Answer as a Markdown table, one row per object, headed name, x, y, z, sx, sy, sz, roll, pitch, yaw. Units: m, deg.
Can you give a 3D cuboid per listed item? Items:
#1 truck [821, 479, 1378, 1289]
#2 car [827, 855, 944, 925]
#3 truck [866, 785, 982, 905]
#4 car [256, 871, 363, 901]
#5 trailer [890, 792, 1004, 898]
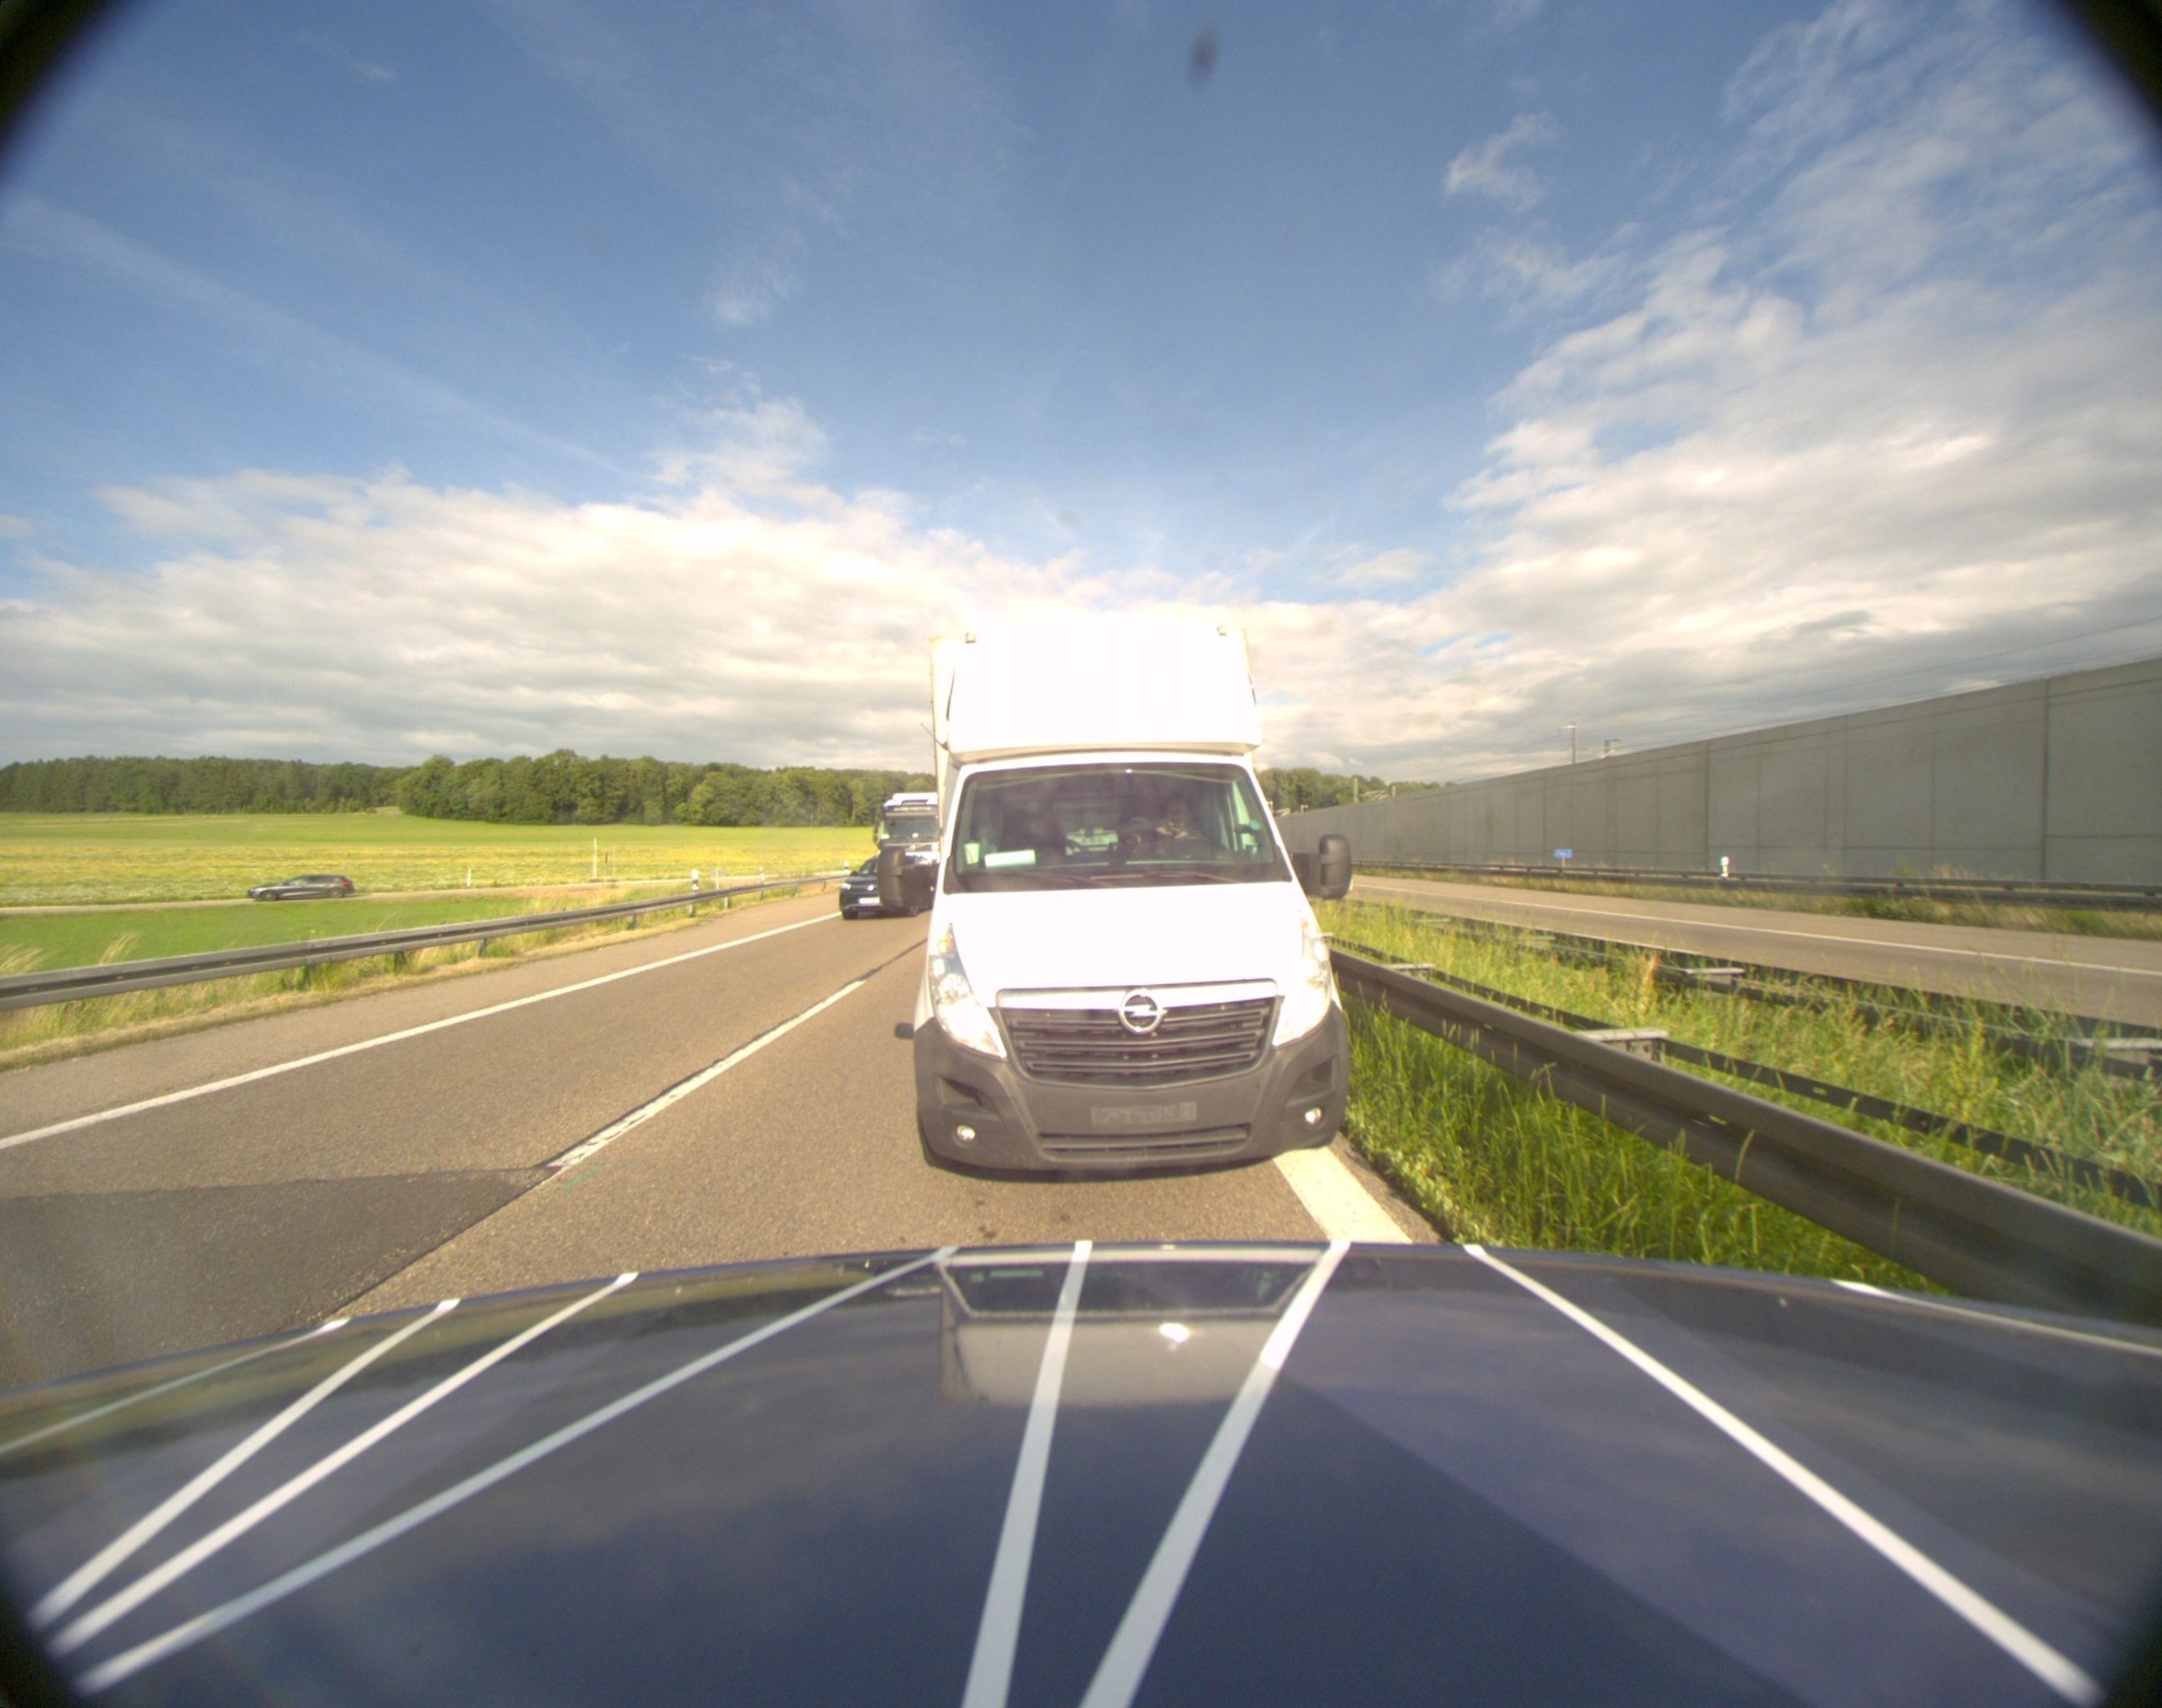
| name | x | y | z | sx | sy | sz | roll | pitch | yaw |
| --- | --- | --- | --- | --- | --- | --- | --- | --- | --- |
| truck | 0.133 | 0.090 | 6.864 | 2.060 | 3.088 | 7.803 | -2 | 1 | 1 |
| car | -5.142 | 0.888 | 20.636 | 1.998 | 1.587 | 4.118 | -2 | 1 | 1 |
| truck | -5.791 | -0.341 | 29.203 | 2.842 | 3.967 | 6.500 | -2 | 1 | 1 |
| car | -45.819 | 1.849 | 45.268 | 4.228 | 1.477 | 1.833 | -3 | 1 | -38 |
| trailer | -5.713 | -0.411 | 35.057 | 2.826 | 3.959 | 12.127 | -2 | 1 | 1 |
